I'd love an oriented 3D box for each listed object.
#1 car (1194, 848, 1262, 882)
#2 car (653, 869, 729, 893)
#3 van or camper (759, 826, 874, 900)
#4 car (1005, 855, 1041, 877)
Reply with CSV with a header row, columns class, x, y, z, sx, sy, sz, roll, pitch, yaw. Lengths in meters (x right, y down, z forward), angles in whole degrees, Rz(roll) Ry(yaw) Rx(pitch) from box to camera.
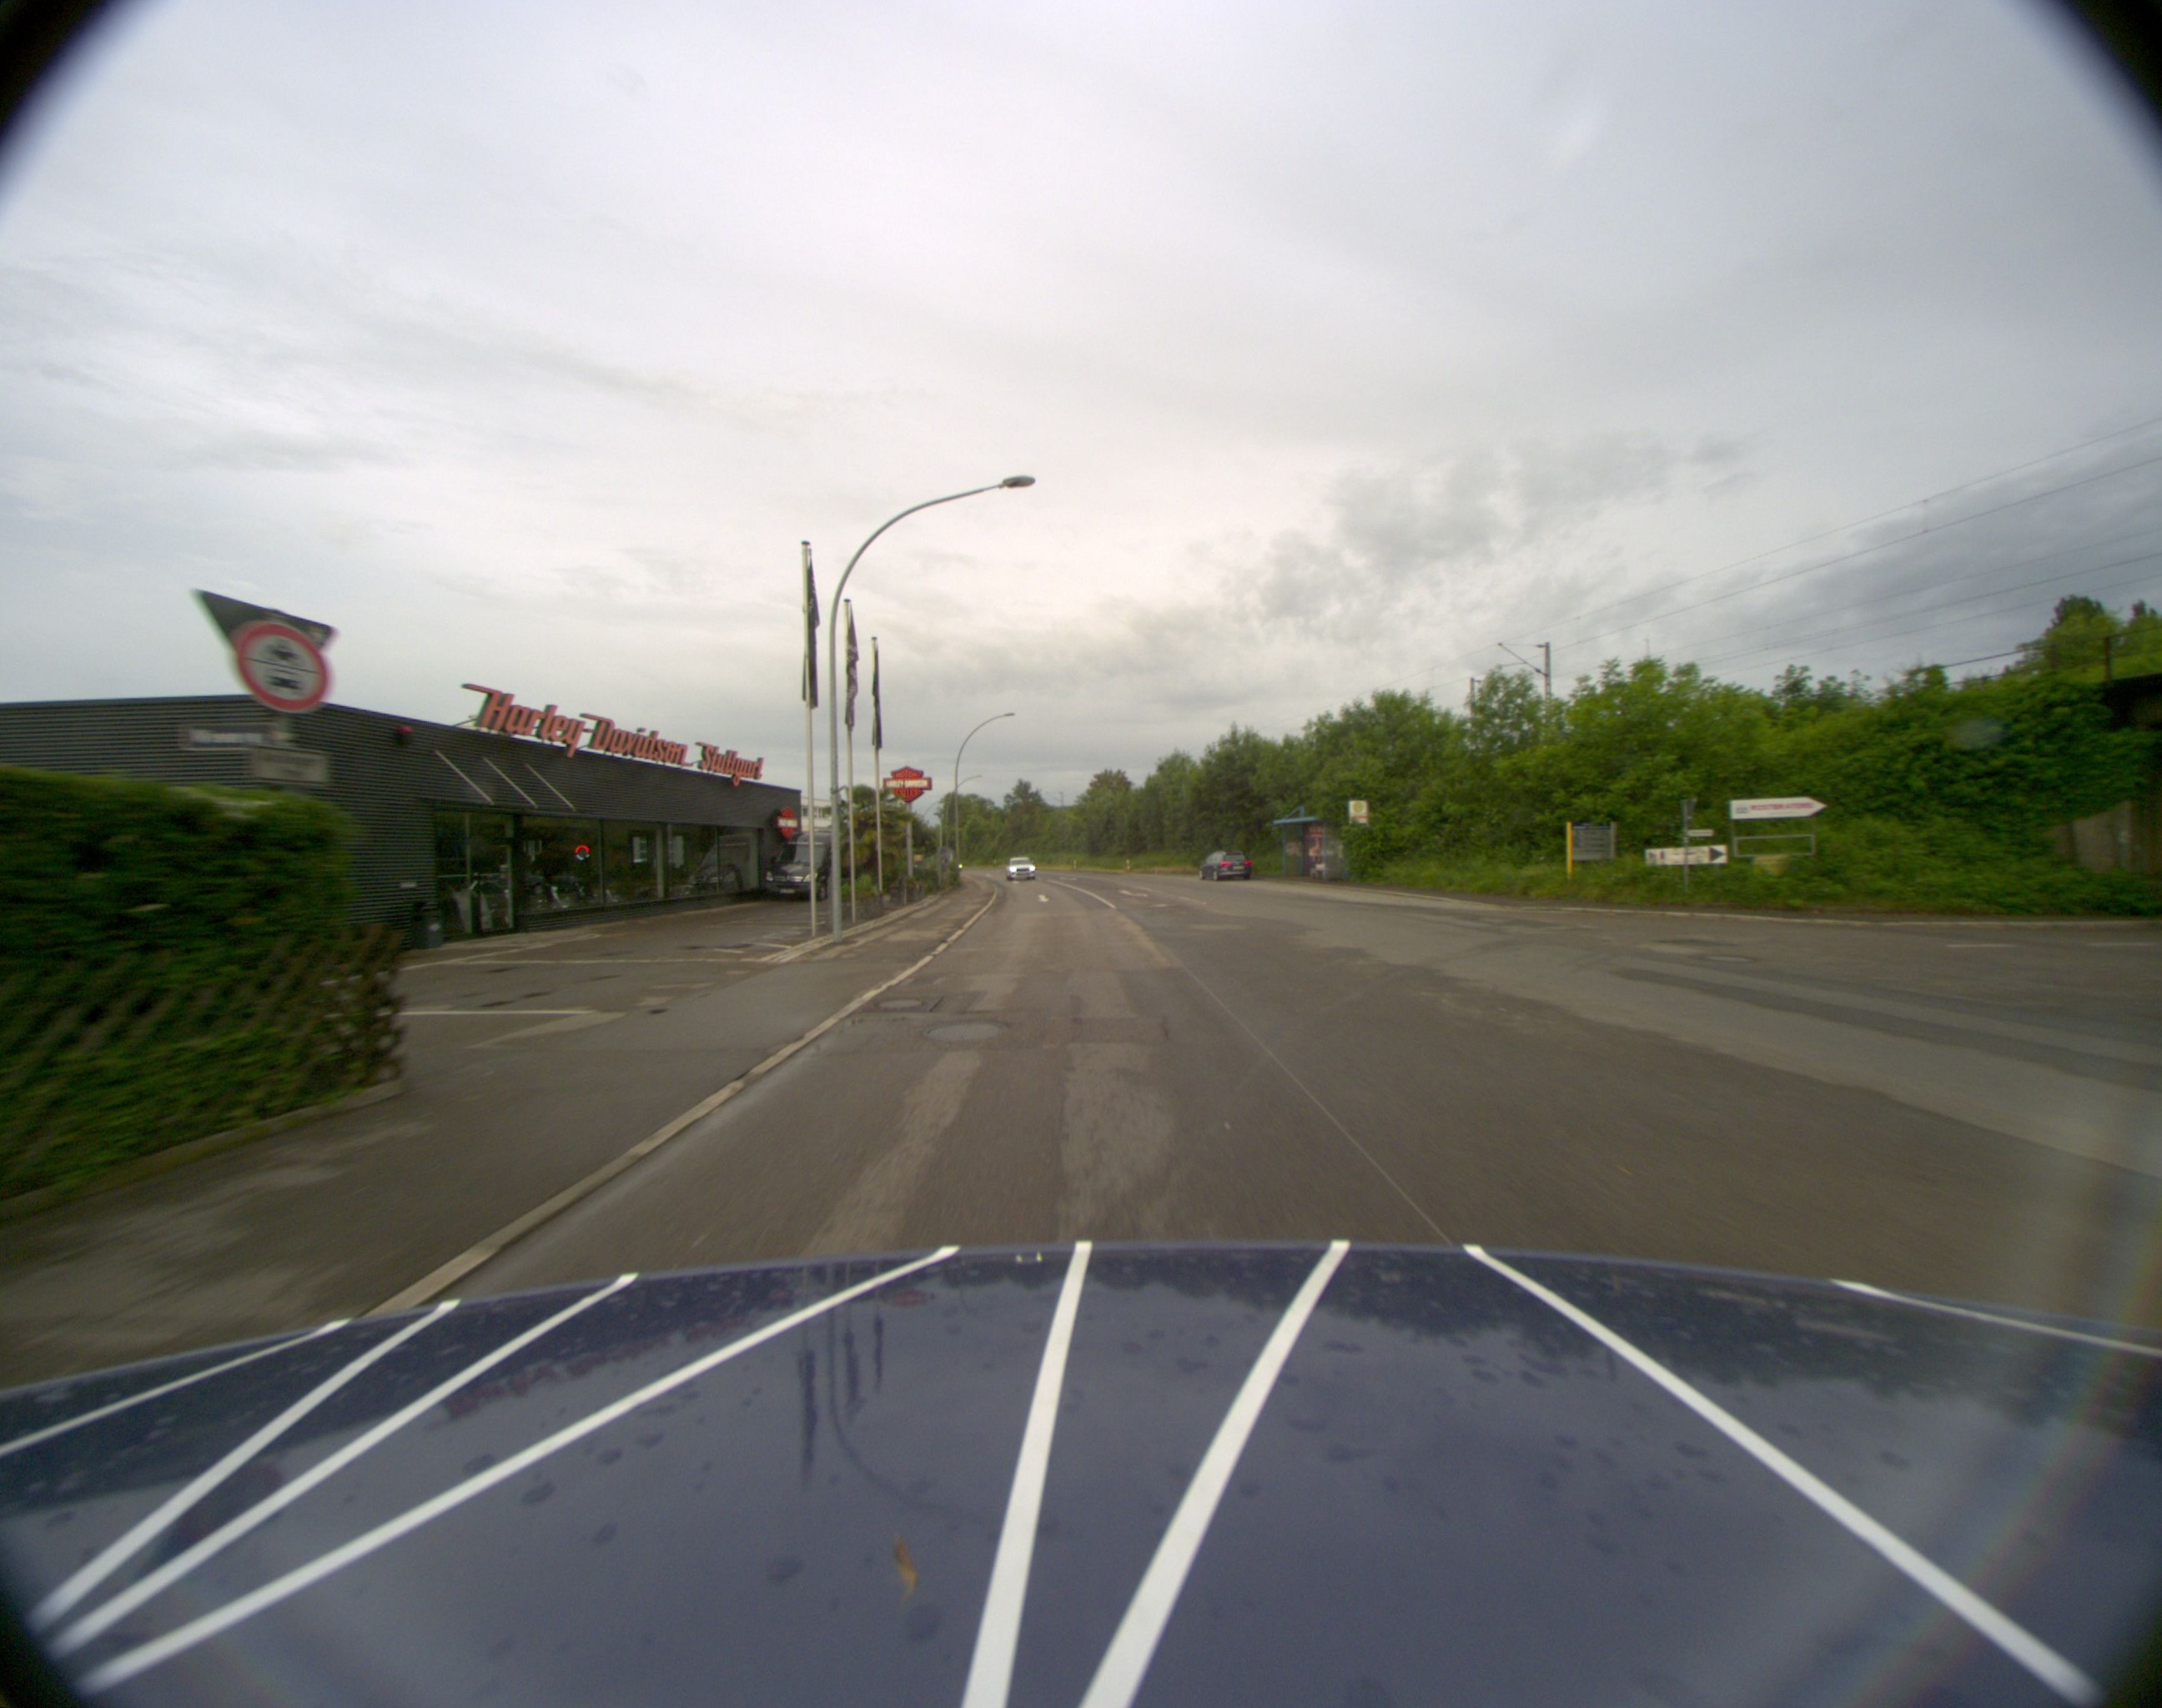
class,x,y,z,sx,sy,sz,roll,pitch,yaw
car,7.657,0.526,40.065,2.000,1.466,4.695,-4,2,-8
car,-28.280,1.954,55.107,4.644,1.392,1.720,-4,2,8
van or camper,-10.348,0.323,30.397,2.046,2.578,6.590,-1,0,2
car,-4.424,0.906,57.275,1.851,1.565,3.821,-1,0,-18
